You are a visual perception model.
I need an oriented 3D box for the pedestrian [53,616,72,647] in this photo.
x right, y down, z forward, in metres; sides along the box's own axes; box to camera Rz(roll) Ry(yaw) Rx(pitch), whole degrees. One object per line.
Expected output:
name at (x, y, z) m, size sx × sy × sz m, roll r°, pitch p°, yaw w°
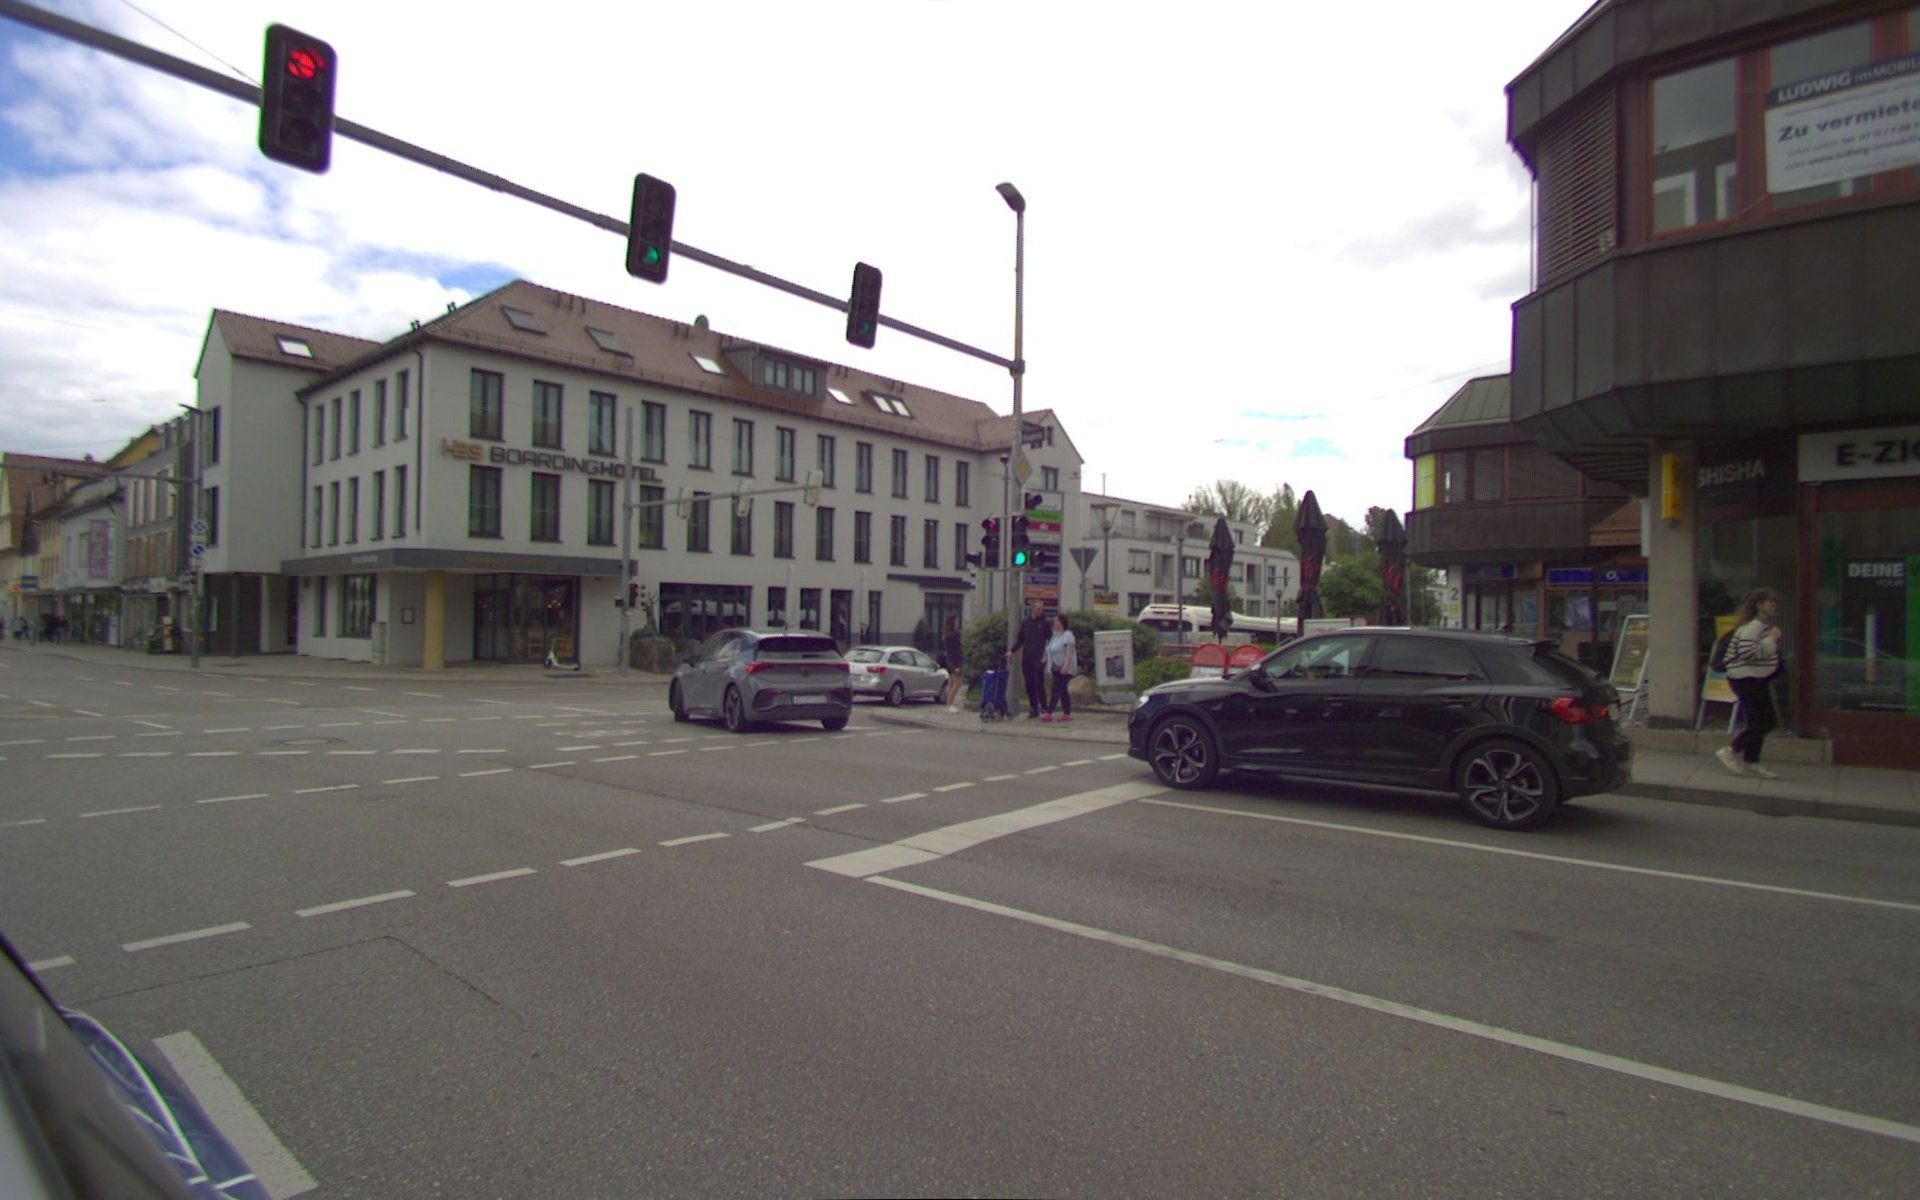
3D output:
pedestrian at (-52.631, 1.834, 59.334) m, size 0.870 × 1.795 × 0.699 m, roll -1°, pitch -2°, yaw 43°

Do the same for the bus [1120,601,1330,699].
bus at (10.887, 2.100, 40.132) m, size 2.996 × 3.353 × 12.137 m, roll -1°, pitch -4°, yaw 41°

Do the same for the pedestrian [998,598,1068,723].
pedestrian at (1.104, 0.884, 15.292) m, size 0.744 × 1.822 × 0.803 m, roll -1°, pitch -1°, yaw 34°

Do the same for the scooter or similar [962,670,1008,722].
scooter or similar at (0.379, 1.446, 15.327) m, size 0.537 × 0.732 × 0.450 m, roll -1°, pitch -2°, yaw 34°

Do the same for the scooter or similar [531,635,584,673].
scooter or similar at (-13.530, 1.810, 34.052) m, size 1.552 × 1.167 × 0.426 m, roll 3°, pitch -1°, yaw 0°

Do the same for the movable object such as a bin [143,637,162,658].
movable object such as a bin at (-35.349, 2.062, 44.312) m, size 0.506 × 0.906 × 0.545 m, roll -1°, pitch -1°, yaw 40°

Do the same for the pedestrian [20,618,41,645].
pedestrian at (-54.728, 1.853, 59.597) m, size 0.920 × 1.595 × 0.801 m, roll -1°, pitch -2°, yaw 42°

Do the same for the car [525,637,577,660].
car at (-21.823, 2.568, 53.967) m, size 1.378 × 1.189 × 3.355 m, roll 3°, pitch -3°, yaw -44°

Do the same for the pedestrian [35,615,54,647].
pedestrian at (-53.142, 1.801, 58.766) m, size 1.028 × 1.853 × 0.699 m, roll -1°, pitch -2°, yaw 43°

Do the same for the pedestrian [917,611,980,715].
pedestrian at (-0.202, 1.065, 17.333) m, size 0.799 × 1.727 × 0.704 m, roll 1°, pitch -3°, yaw -36°

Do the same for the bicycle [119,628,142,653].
bicycle at (-38.482, 1.860, 46.946) m, size 1.902 × 1.109 × 0.565 m, roll -1°, pitch -1°, yaw 42°

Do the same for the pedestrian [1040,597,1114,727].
pedestrian at (1.710, 0.879, 14.784) m, size 0.773 × 1.822 × 0.803 m, roll -1°, pitch -1°, yaw 34°

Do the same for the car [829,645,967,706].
car at (-1.473, 1.902, 25.762) m, size 1.632 × 1.429 × 4.159 m, roll -2°, pitch -4°, yaw 27°

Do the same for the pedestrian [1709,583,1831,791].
pedestrian at (7.064, 0.730, 8.869) m, size 0.776 × 1.706 × 0.742 m, roll -1°, pitch -2°, yaw 37°

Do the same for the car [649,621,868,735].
car at (-3.314, 1.154, 15.942) m, size 1.735 × 1.528 × 4.397 m, roll 2°, pitch -3°, yaw -35°

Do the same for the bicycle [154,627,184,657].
bicycle at (-33.344, 1.762, 42.653) m, size 2.118 × 1.241 × 0.576 m, roll -1°, pitch -1°, yaw 41°

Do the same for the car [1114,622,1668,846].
car at (3.460, 0.916, 8.544) m, size 3.996 × 1.454 × 1.685 m, roll -1°, pitch -2°, yaw 40°

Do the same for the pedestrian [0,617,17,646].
pedestrian at (-55.395, 1.849, 58.775) m, size 0.920 × 1.674 × 0.801 m, roll -1°, pitch -2°, yaw 42°
